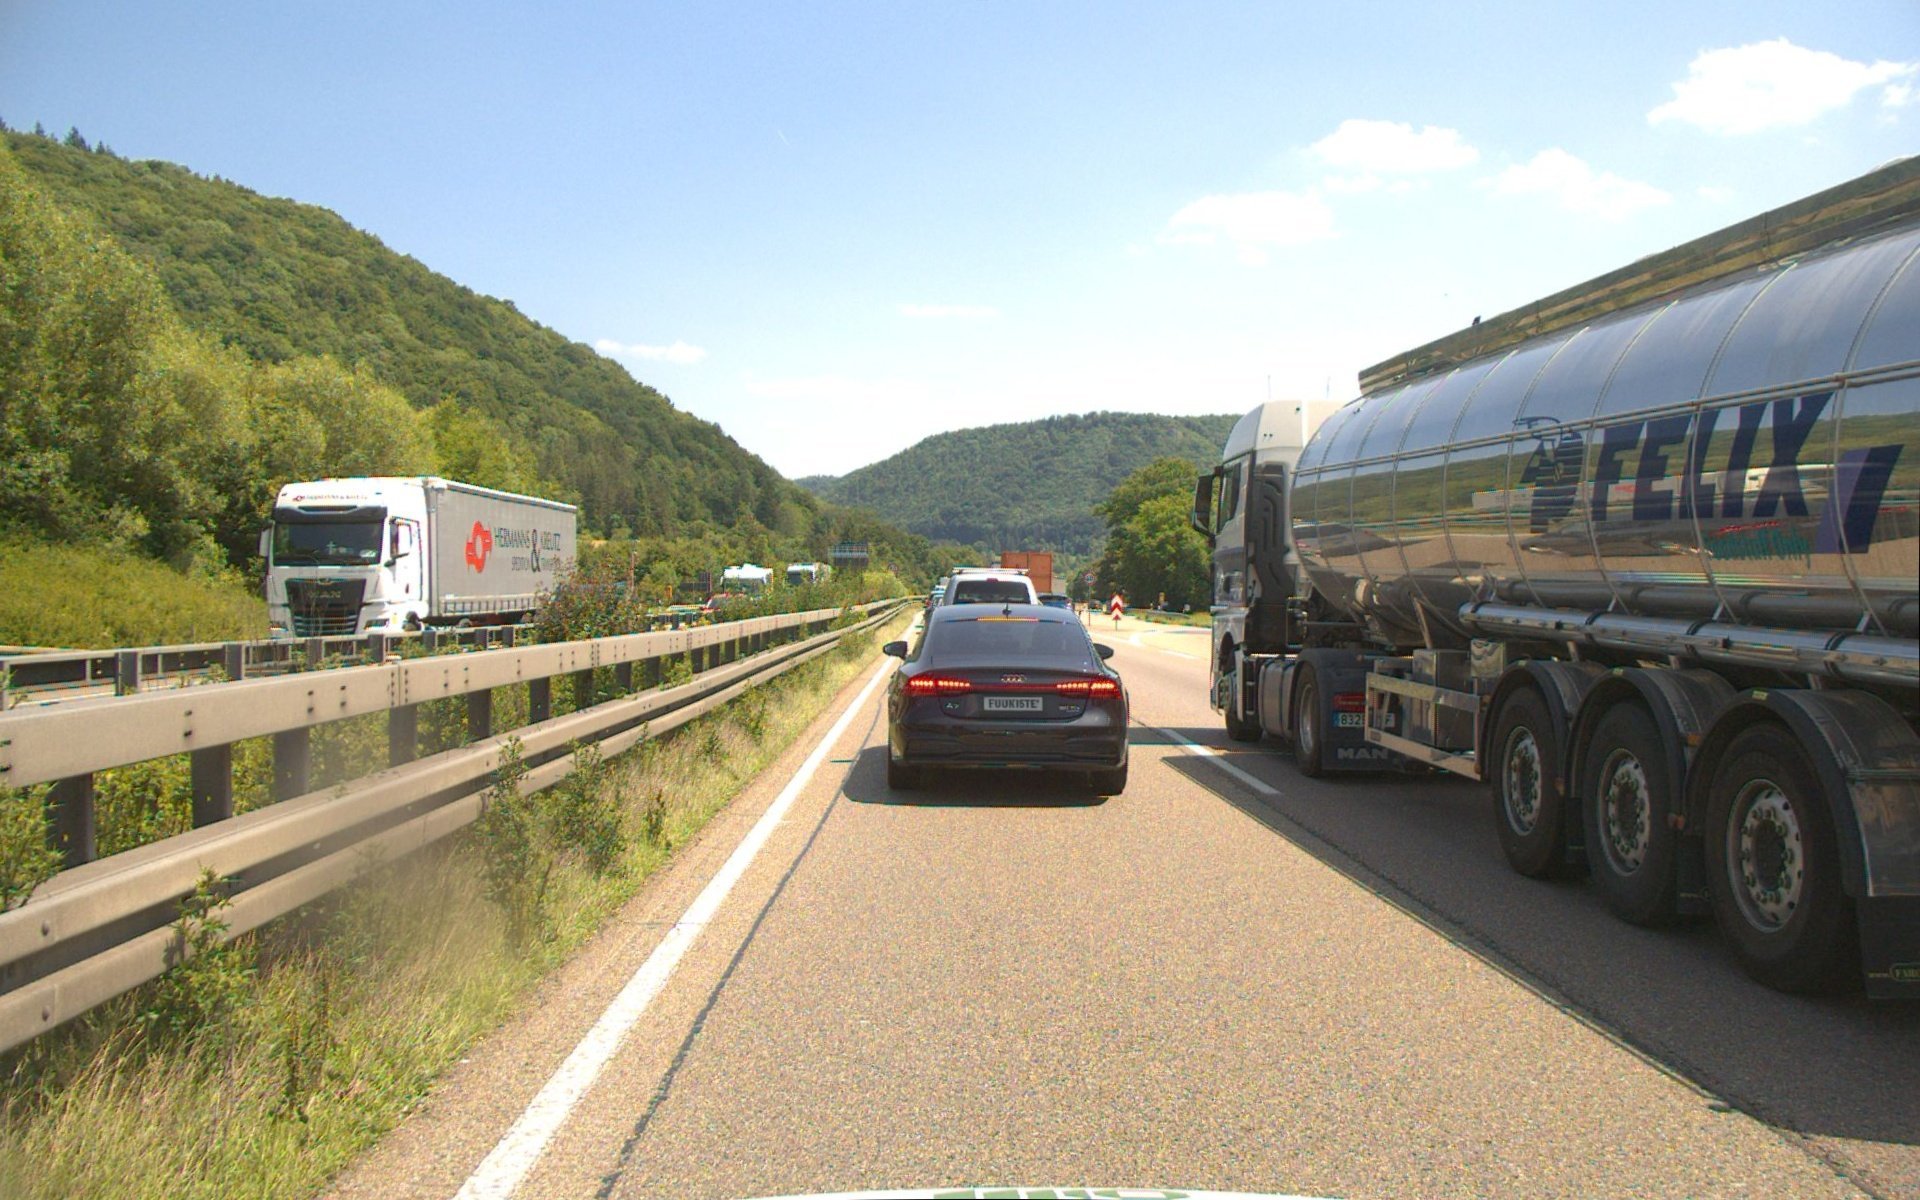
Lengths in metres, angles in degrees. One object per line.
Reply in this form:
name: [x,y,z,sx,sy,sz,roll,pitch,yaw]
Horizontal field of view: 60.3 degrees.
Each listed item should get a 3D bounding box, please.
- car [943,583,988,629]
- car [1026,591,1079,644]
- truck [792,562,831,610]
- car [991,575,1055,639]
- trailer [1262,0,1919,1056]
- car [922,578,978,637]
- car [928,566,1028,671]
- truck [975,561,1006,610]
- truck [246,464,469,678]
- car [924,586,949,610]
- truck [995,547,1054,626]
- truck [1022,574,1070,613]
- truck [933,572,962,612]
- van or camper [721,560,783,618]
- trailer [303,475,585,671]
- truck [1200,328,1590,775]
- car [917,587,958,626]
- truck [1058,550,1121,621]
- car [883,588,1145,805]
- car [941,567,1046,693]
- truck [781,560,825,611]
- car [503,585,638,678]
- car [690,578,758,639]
car: [0.203,0.260,74.985,1.953,2.049,3.999,0,0,-1]
car: [3.679,0.675,66.331,1.952,2.038,4.000,0,0,0]
truck: [-13.188,-1.235,147.651,2.811,4.050,9.029,1,0,-1]
car: [2.084,0.221,55.670,1.953,2.049,3.999,0,0,-1]
trailer: [4.315,-0.406,10.116,2.487,3.801,11.888,1,0,-1]
car: [-0.386,0.245,59.769,1.953,2.049,3.999,0,0,-1]
car: [0.324,0.362,34.756,1.953,2.049,3.999,1,0,-1]
truck: [2.262,-1.075,124.520,1.953,3.507,11.809,1,0,0]
truck: [-12.340,-0.569,34.376,2.672,4.071,5.369,-1,0,0]
car: [-1.592,-0.146,113.537,1.677,1.647,4.000,0,0,0]
truck: [3.547,-0.732,94.303,2.760,4.073,14.955,1,0,0]
truck: [10.539,-0.760,201.014,3.712,4.491,14.968,0,0,11]
truck: [-1.092,-0.754,150.148,2.575,3.501,11.419,0,0,0]
van or camper: [-12.438,-0.649,99.342,2.536,3.394,7.650,0,0,2]
trailer: [-12.416,-0.597,41.728,2.726,4.069,14.157,1,0,0]
truck: [4.136,-0.423,16.888,2.460,3.824,5.244,1,0,-1]
car: [-0.932,0.252,71.197,1.677,1.647,4.000,0,0,0]
truck: [7.989,-0.852,103.706,2.760,4.073,14.955,1,0,0]
car: [0.293,0.677,13.731,1.813,1.514,4.080,1,0,-3]
car: [0.474,0.437,26.736,1.544,1.865,3.999,1,0,-1]
truck: [-13.022,-1.200,138.037,2.811,4.076,10.168,1,0,-1]
car: [-8.215,0.629,35.302,1.883,1.828,4.599,1,0,-2]
car: [-8.345,0.288,58.813,1.954,2.049,4.332,1,0,-3]
